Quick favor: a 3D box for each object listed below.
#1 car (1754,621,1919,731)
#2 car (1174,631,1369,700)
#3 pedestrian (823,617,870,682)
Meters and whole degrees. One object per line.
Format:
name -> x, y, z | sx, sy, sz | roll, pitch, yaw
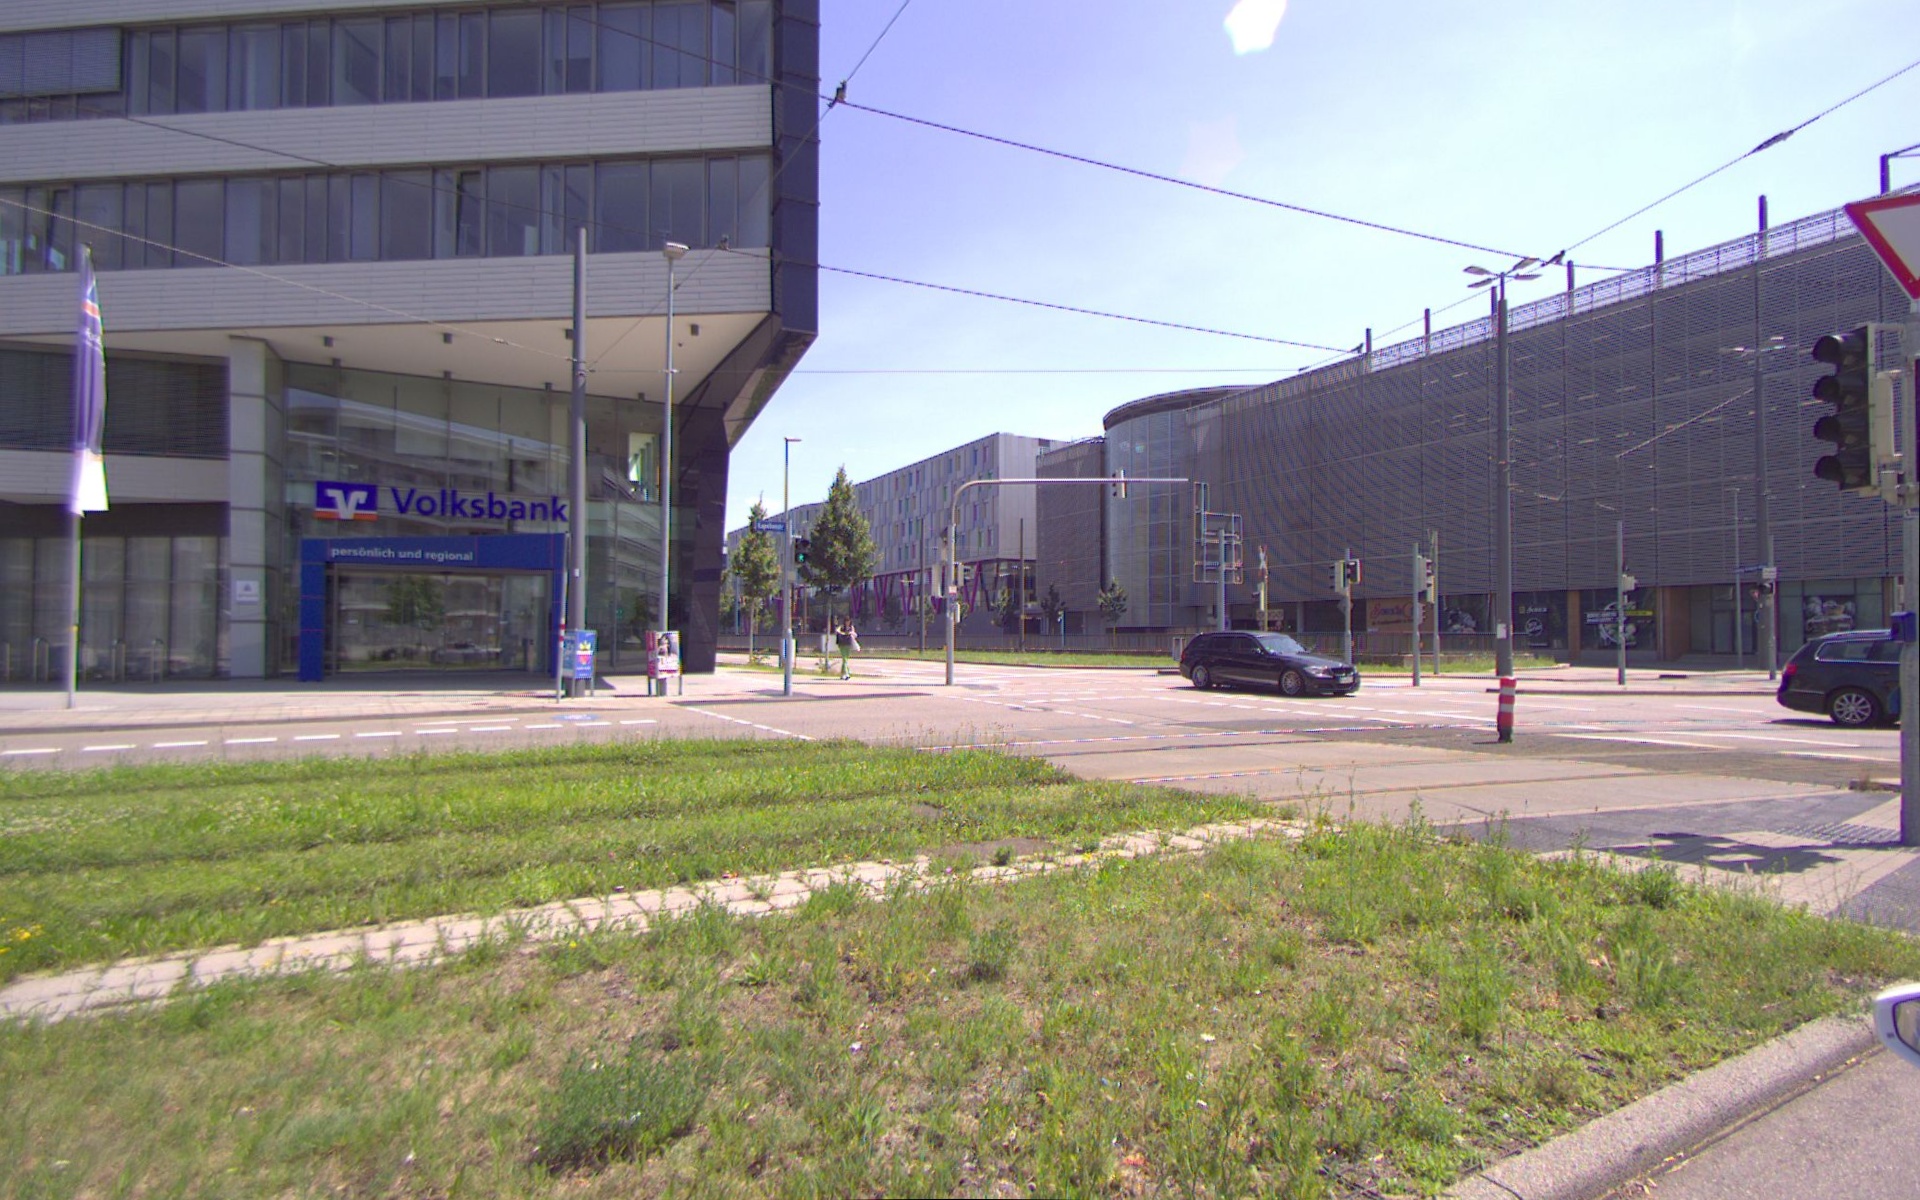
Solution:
car -> 15.090, 1.119, 14.927 | 1.980, 1.601, 4.824 | 1, -1, -34
car -> 6.989, 1.414, 22.970 | 1.617, 1.360, 4.282 | 0, -1, -32
pedestrian -> -3.172, 1.358, 28.082 | 0.889, 1.770, 0.975 | 0, -1, 31
